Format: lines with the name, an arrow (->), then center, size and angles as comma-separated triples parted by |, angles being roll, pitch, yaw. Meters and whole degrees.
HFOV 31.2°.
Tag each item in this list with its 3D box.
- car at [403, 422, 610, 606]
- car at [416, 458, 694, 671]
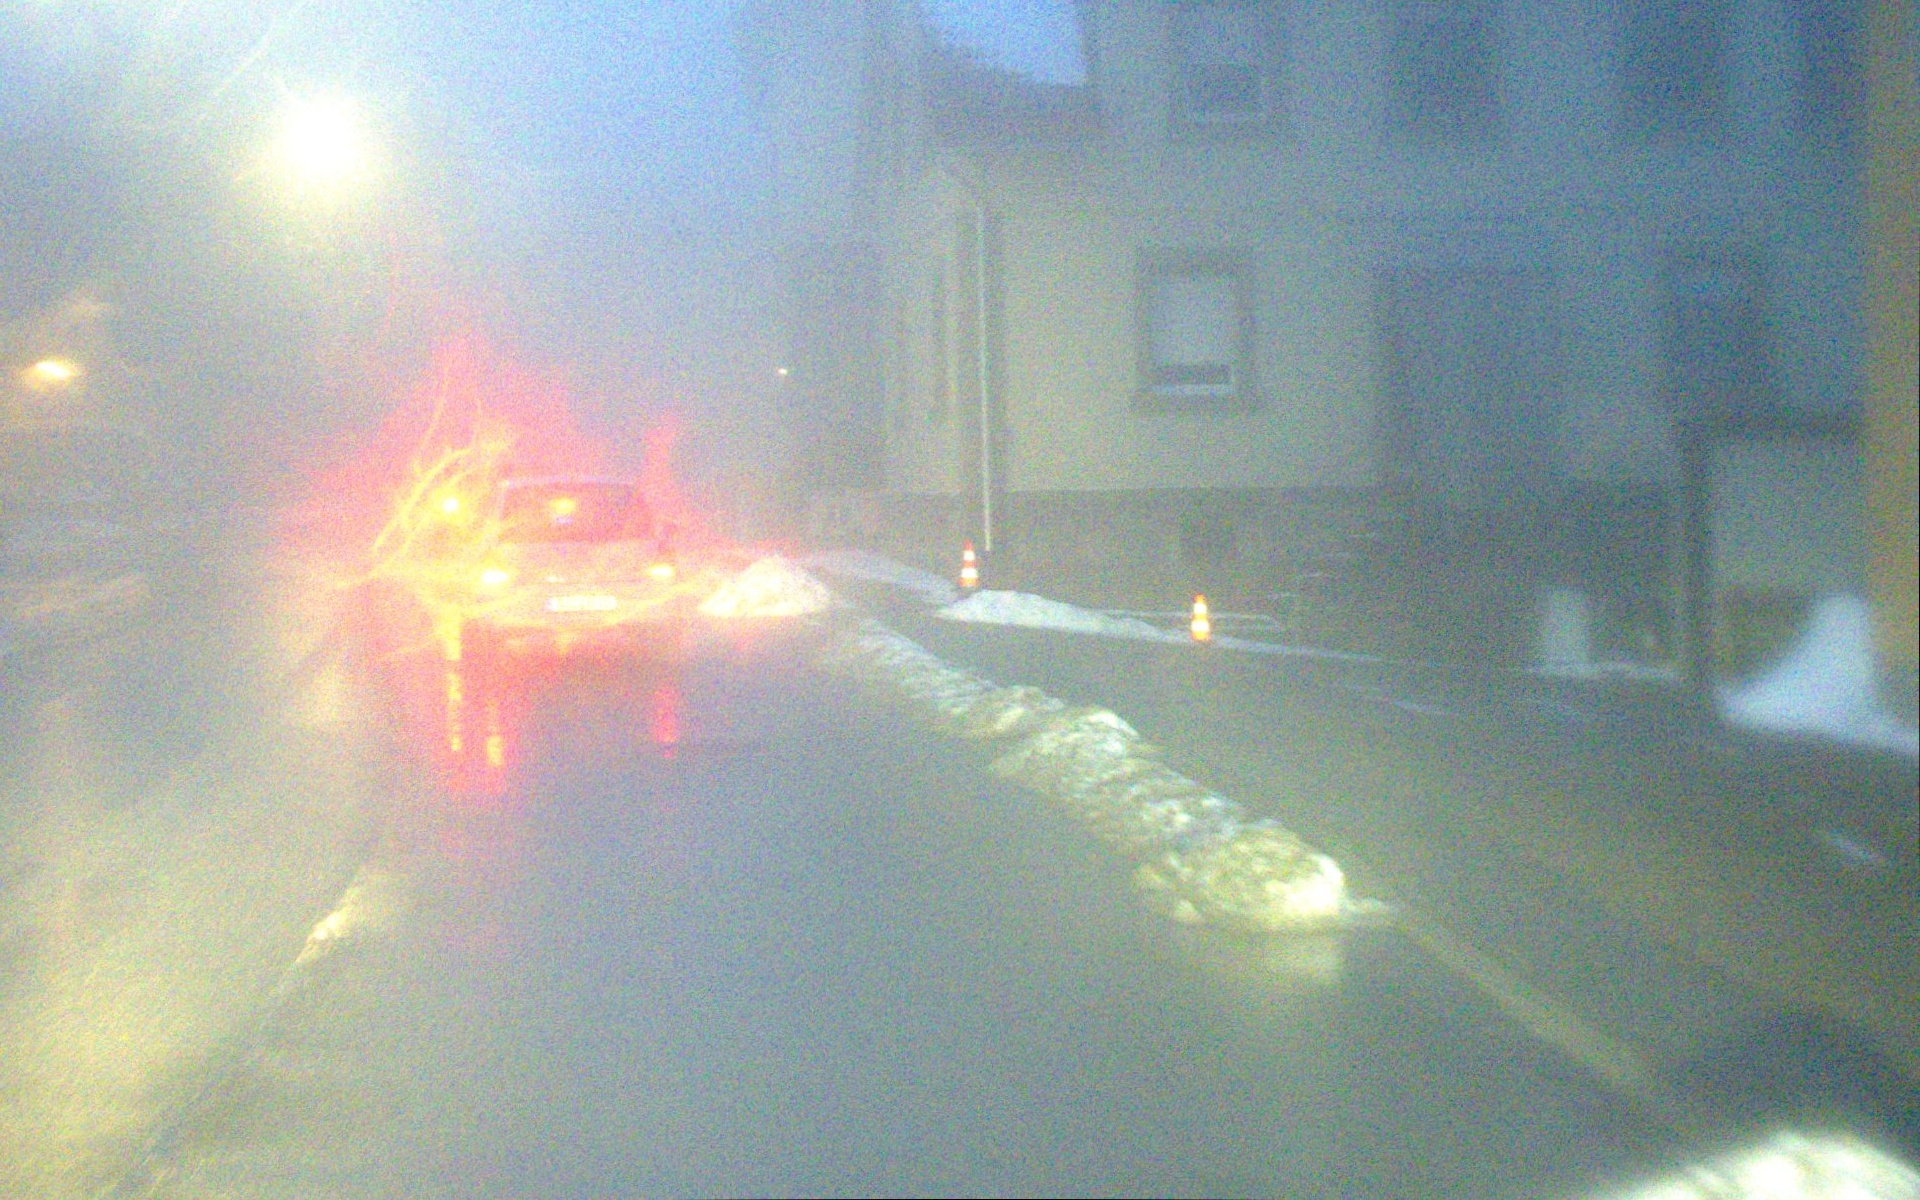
car -> -5.406, -0.981, 41.402 | 1.993, 2.007, 4.000 | 2, -1, -2
car -> -3.223, -0.254, 27.539 | 1.993, 1.503, 4.001 | 2, -1, -6
